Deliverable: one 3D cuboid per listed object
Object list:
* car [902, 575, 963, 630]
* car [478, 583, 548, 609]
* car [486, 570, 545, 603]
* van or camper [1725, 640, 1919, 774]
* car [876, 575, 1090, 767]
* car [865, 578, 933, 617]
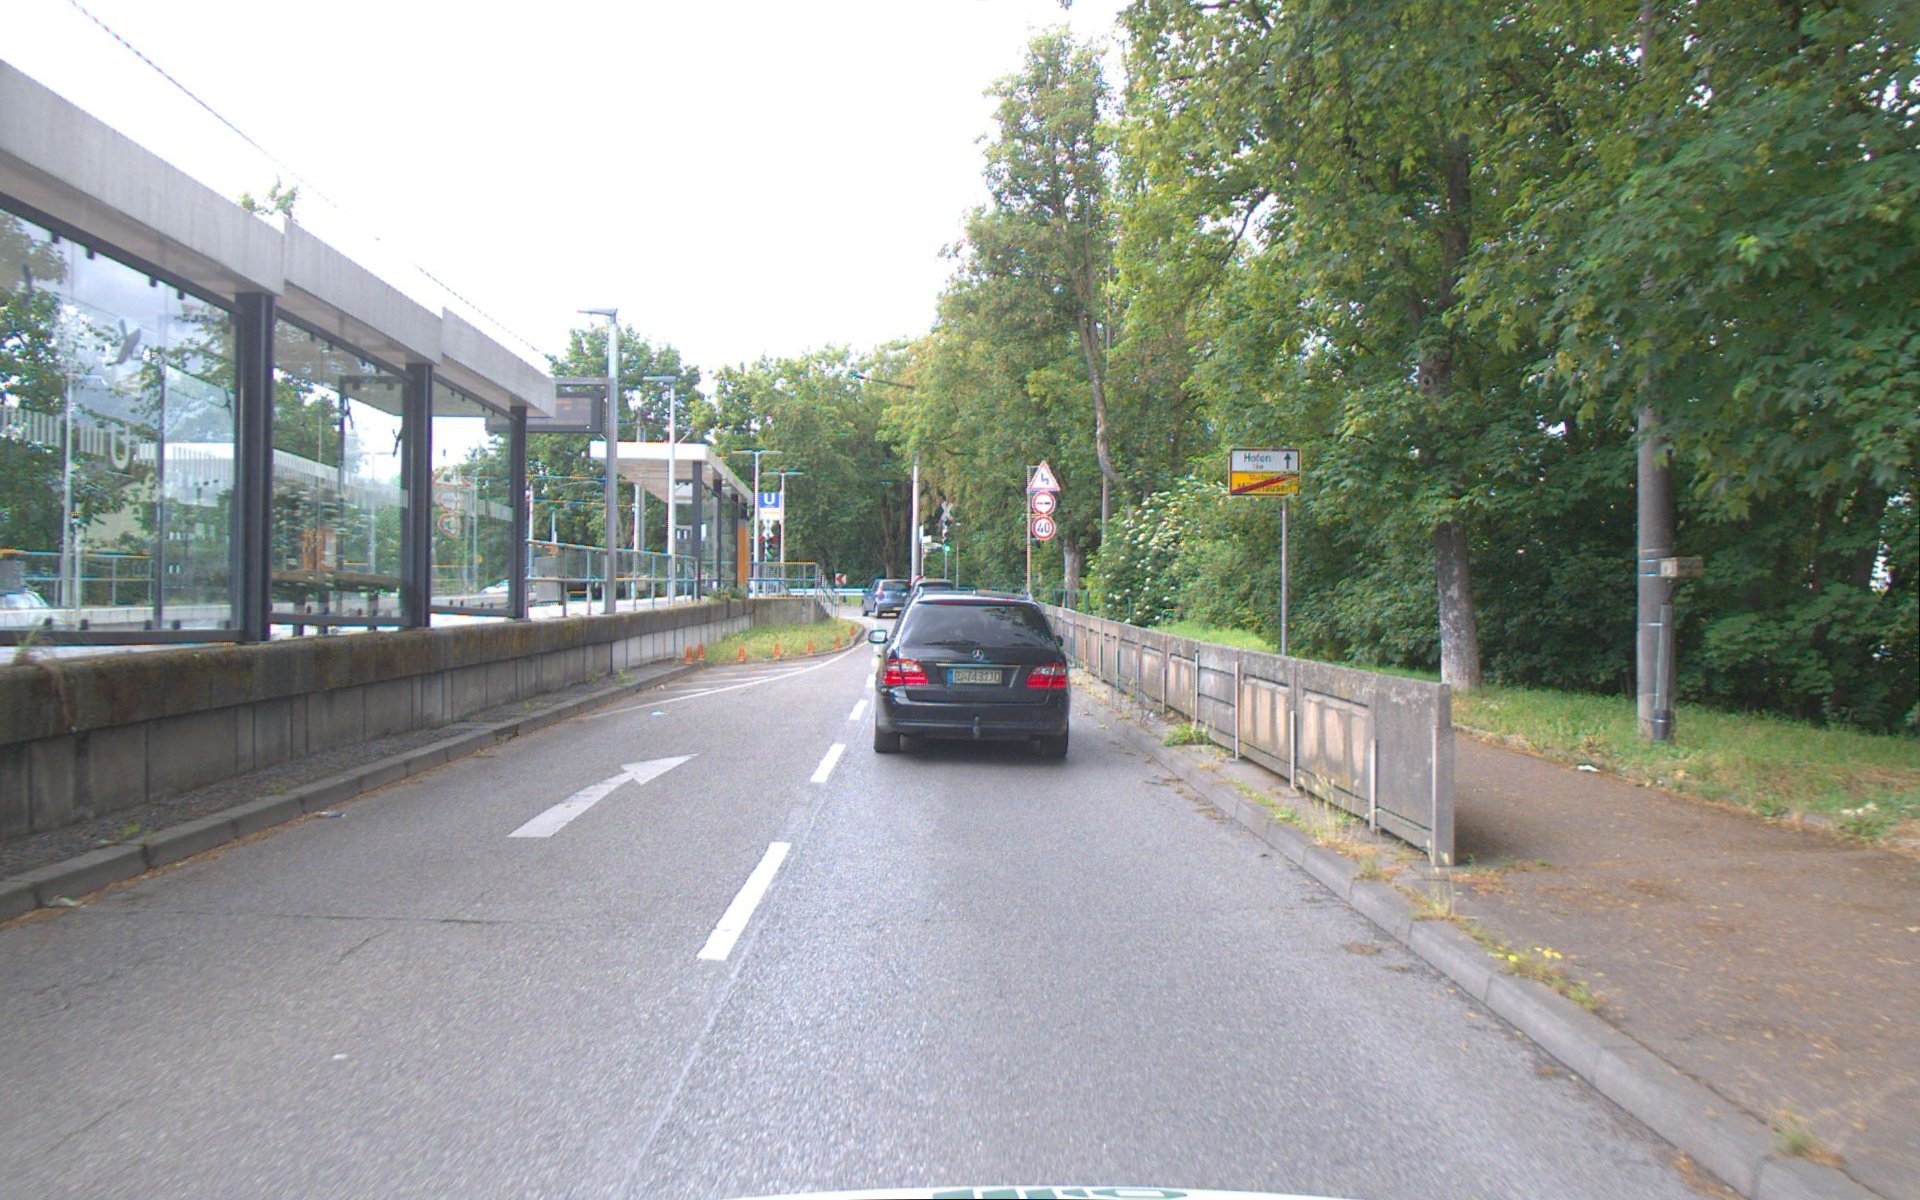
[{"bbox_3d":[-0.924,0.070,53.942,1.747,1.677,3.997,1,0,-4],"label":"car"},{"bbox_3d":[-25.021,-0.238,92.460,3.929,1.423,1.988,1,1,42],"label":"car"},{"bbox_3d":[-24.878,-0.759,92.605,3.331,1.736,1.604,1,-2,42],"label":"car"},{"bbox_3d":[15.901,1.792,28.342,2.138,2.049,5.827,3,-1,-10],"label":"van or camper"},{"bbox_3d":[0.142,0.588,15.868,1.746,1.552,3.999,2,0,-2],"label":"car"},{"bbox_3d":[-2.409,-0.109,64.282,1.959,1.423,3.987,1,1,-13],"label":"car"}]
